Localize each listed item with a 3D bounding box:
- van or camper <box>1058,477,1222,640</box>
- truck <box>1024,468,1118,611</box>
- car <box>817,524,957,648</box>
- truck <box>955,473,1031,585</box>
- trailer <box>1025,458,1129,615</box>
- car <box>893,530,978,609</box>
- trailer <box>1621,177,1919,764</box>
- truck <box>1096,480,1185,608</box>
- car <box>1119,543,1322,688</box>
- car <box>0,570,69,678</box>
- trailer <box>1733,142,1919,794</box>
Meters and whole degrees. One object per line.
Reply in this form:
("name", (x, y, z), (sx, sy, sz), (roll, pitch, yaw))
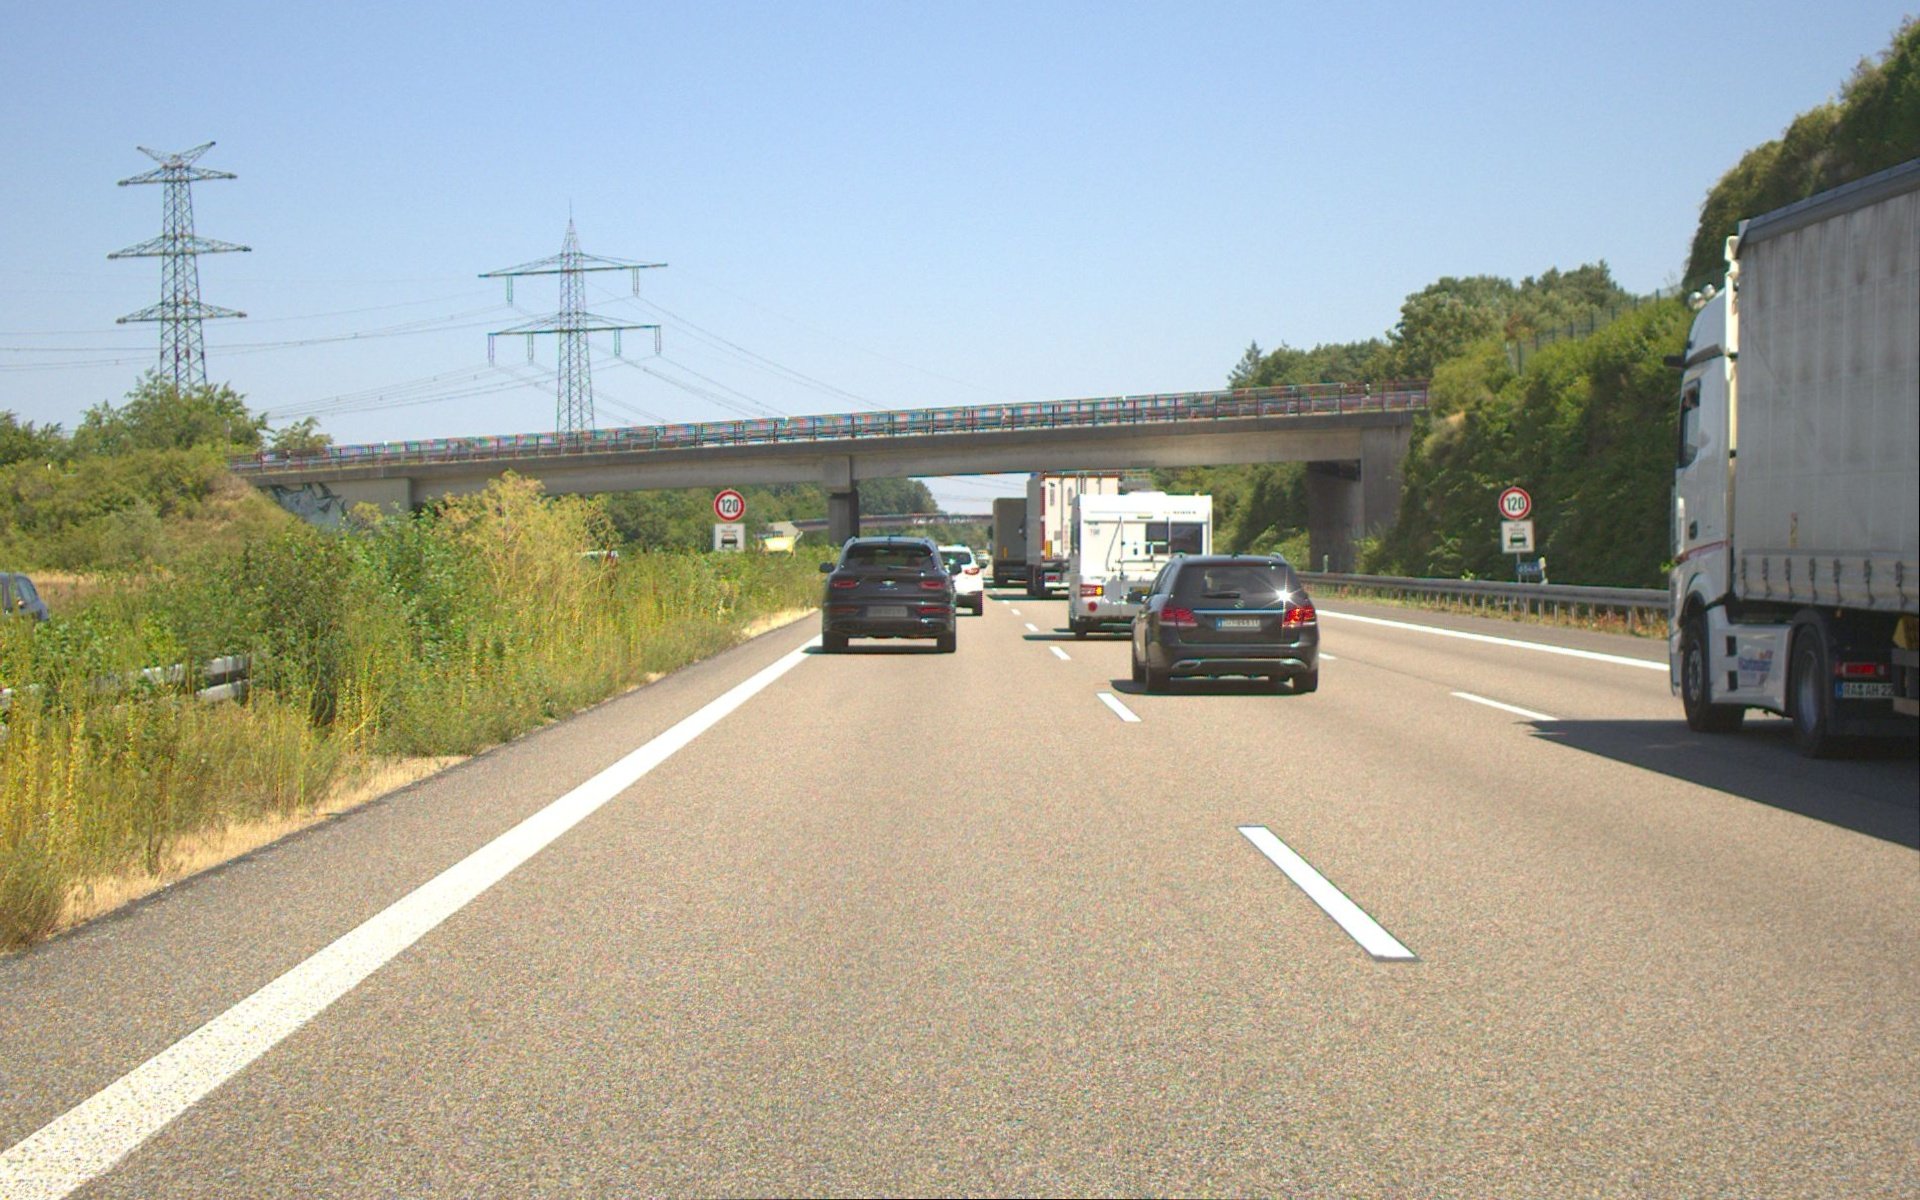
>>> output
("van or camper", (3.079, -0.749, 60.298), (2.439, 2.665, 6.350), (-1, 1, -1))
("truck", (3.850, -2.104, 120.984), (3.087, 4.868, 6.597), (1, 0, 1))
("car", (-1.079, -0.239, 51.787), (1.993, 1.766, 4.000), (-1, 1, -1))
("truck", (1.566, -3.360, 163.620), (3.512, 5.149, 10.258), (0, 1, 1))
("trailer", (3.781, -2.046, 114.086), (3.087, 4.868, 12.258), (1, 0, 1))
("car", (-0.593, -0.753, 82.858), (1.961, 1.808, 4.449), (-1, 1, -1))
("trailer", (7.319, -0.957, 27.392), (2.713, 4.088, 6.789), (0, 1, -1))
("truck", (7.090, -2.184, 136.131), (3.087, 4.868, 8.798), (1, 0, 1))
("car", (2.816, 0.126, 38.097), (1.841, 1.500, 4.738), (0, 1, -1))
("car", (-15.959, 0.368, 55.768), (1.861, 1.648, 4.559), (0, 1, -1))
("trailer", (7.401, -0.811, 19.938), (2.728, 4.088, 13.190), (0, 1, -1))
